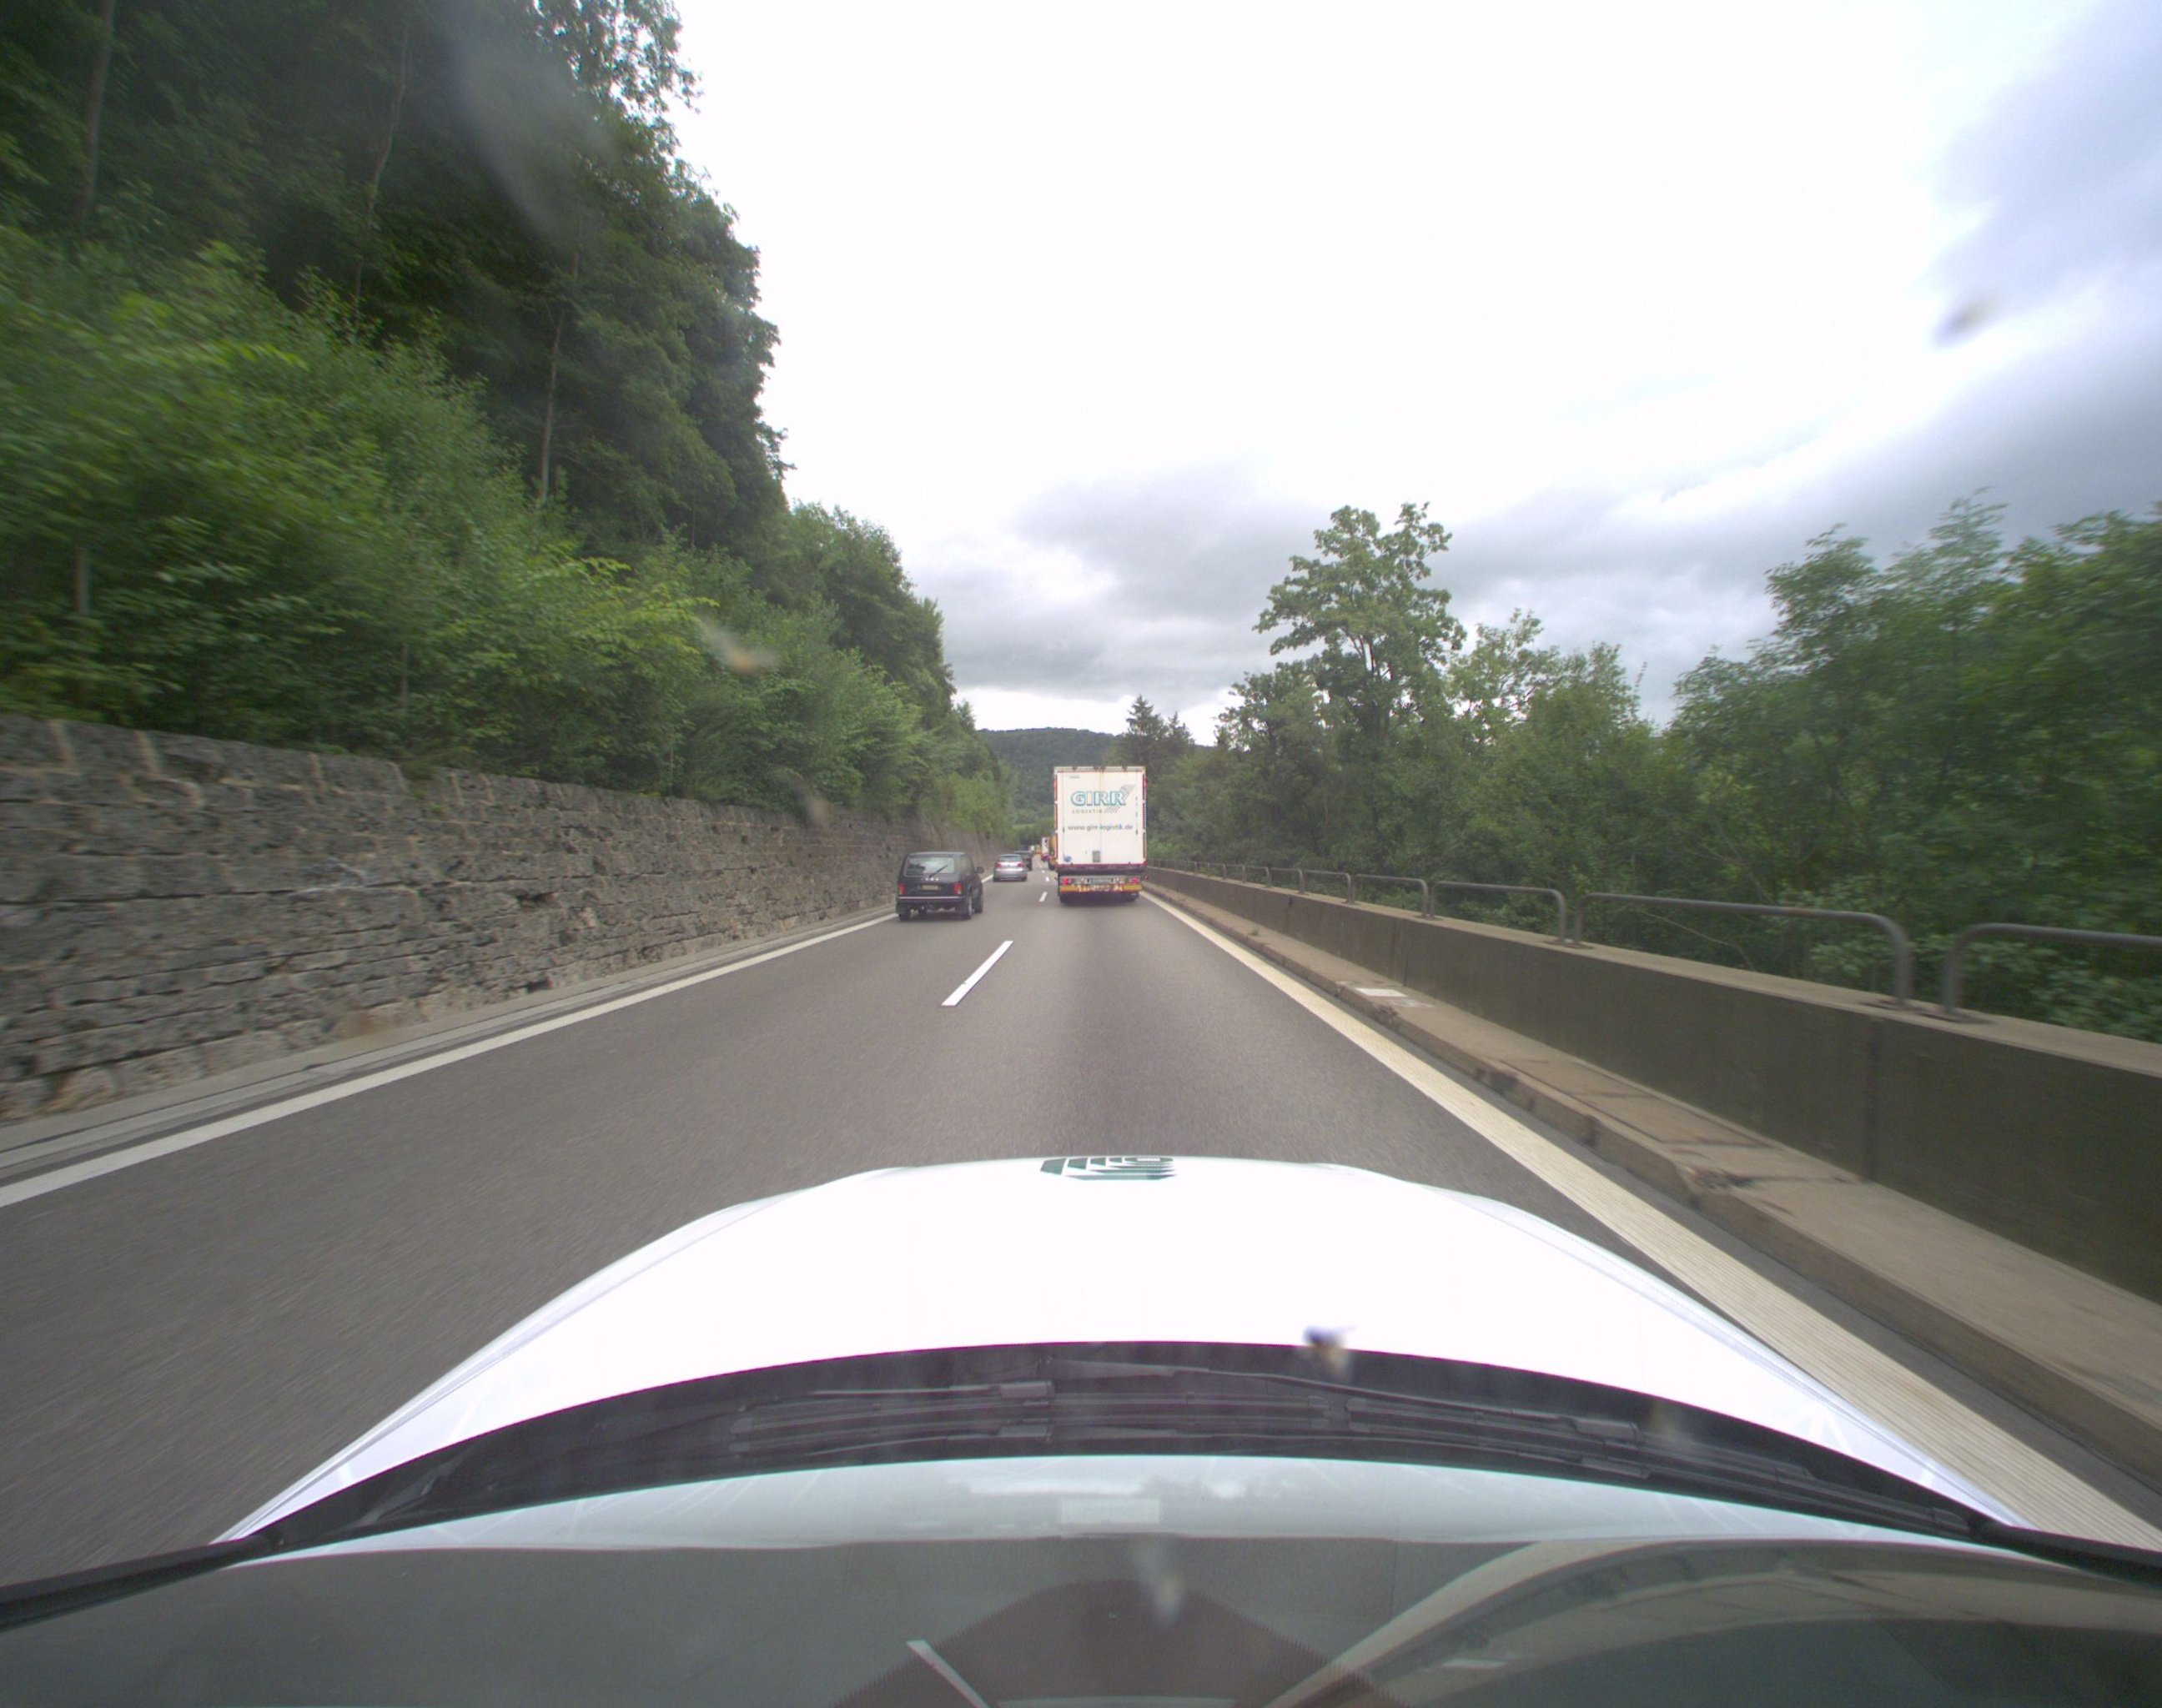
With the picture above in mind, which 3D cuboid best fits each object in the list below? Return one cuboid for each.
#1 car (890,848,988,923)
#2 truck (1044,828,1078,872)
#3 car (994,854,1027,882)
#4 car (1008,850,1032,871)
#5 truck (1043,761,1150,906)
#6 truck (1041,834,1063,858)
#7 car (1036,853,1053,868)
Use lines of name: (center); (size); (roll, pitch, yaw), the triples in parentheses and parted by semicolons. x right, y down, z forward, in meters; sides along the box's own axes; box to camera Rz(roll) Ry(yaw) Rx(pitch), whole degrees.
car: (-3.377, 0.710, 20.050); (1.663, 1.639, 4.068); (0, 0, 0)
truck: (-1.829, -0.295, 70.322); (2.481, 3.571, 9.295); (0, 0, -4)
car: (-3.822, 0.744, 44.672); (1.725, 1.486, 3.995); (0, 0, -4)
car: (-5.002, 0.534, 67.280); (1.913, 1.595, 4.173); (0, 0, -3)
truck: (0.540, -0.562, 26.957); (2.898, 3.960, 9.281); (0, 0, 1)
truck: (-4.999, -1.305, 140.999); (3.501, 3.847, 11.770); (0, -1, -1)
car: (-5.141, 0.917, 114.807); (1.984, 2.014, 4.005); (0, -1, 4)
